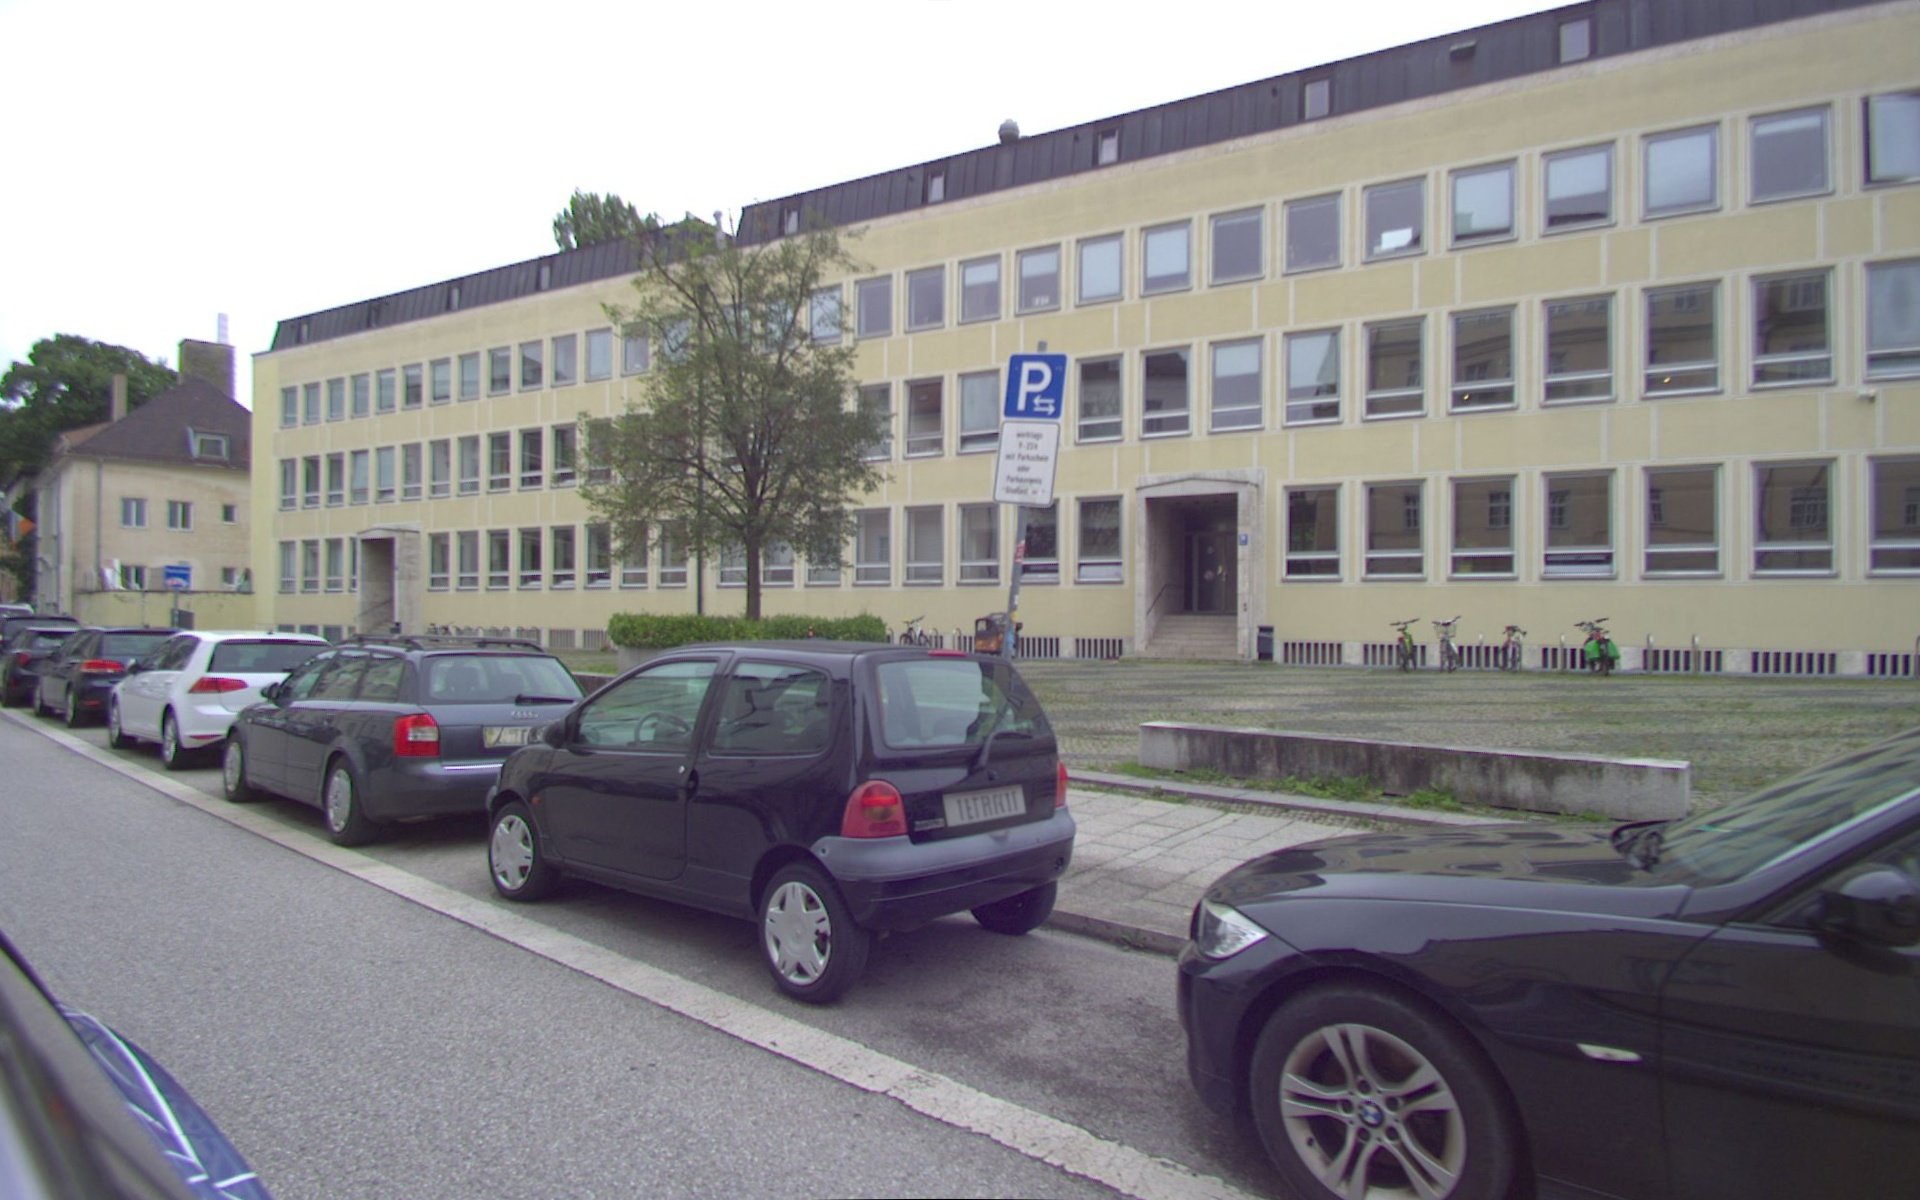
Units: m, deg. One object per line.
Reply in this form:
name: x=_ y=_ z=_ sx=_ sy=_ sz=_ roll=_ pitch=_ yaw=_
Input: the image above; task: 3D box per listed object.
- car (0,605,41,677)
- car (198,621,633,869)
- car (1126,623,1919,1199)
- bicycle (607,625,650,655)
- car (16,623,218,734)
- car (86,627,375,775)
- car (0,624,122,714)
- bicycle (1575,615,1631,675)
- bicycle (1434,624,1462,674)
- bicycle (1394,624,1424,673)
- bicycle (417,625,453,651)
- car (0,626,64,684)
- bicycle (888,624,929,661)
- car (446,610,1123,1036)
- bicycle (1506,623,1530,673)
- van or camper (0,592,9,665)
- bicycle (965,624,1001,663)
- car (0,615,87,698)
car: x=-28.395 y=1.167 z=29.343 sx=4.958 sy=1.975 sz=1.895 roll=-2 pitch=-3 yaw=40
car: x=-4.554 y=0.945 z=8.172 sx=4.272 sy=1.506 sz=1.614 roll=-1 pitch=-3 yaw=40
car: x=2.753 y=0.813 z=2.138 sx=4.459 sy=1.477 sz=1.757 roll=-1 pitch=-4 yaw=37
bicycle: x=-11.190 y=1.349 z=34.192 sx=0.414 sy=0.952 sz=1.393 roll=-1 pitch=0 yaw=39
car: x=-13.197 y=1.137 z=15.764 sx=4.096 sy=1.506 sz=1.614 roll=-1 pitch=-3 yaw=39
car: x=-8.700 y=1.051 z=11.941 sx=4.290 sy=1.433 sz=1.723 roll=-1 pitch=-2 yaw=40
car: x=-17.061 y=1.212 z=18.911 sx=3.819 sy=1.506 sz=1.613 roll=-1 pitch=-3 yaw=42
bicycle: x=12.880 y=0.874 z=20.311 sx=0.698 sy=1.104 sz=1.835 roll=-1 pitch=0 yaw=25
bicycle: x=10.300 y=1.005 z=21.341 sx=0.412 sy=0.952 sz=1.845 roll=-1 pitch=0 yaw=29
bicycle: x=9.643 y=1.013 z=21.706 sx=0.412 sy=0.952 sz=1.938 roll=-1 pitch=0 yaw=29
bicycle: x=-19.949 y=1.433 z=38.489 sx=0.410 sy=0.952 sz=1.405 roll=-1 pitch=0 yaw=13
car: x=-24.675 y=1.399 z=26.190 sx=3.708 sy=1.417 sz=1.785 roll=-1 pitch=-4 yaw=42
bicycle: x=-1.419 y=1.181 z=28.209 sx=0.500 sy=0.952 sz=1.596 roll=-1 pitch=0 yaw=23
car: x=-1.107 y=0.844 z=5.391 sx=3.601 sy=1.506 sz=1.614 roll=-1 pitch=-3 yaw=40
bicycle: x=11.527 y=0.976 z=20.896 sx=0.412 sy=0.952 sz=1.397 roll=-1 pitch=0 yaw=29
van or camper: x=-37.845 y=1.043 z=38.356 sx=5.563 sy=2.671 sz=2.267 roll=-1 pitch=-3 yaw=44
bicycle: x=0.623 y=1.157 z=26.999 sx=0.499 sy=0.952 sz=1.600 roll=-1 pitch=0 yaw=18
car: x=-20.882 y=1.205 z=22.502 sx=4.140 sy=1.702 sz=1.696 roll=-1 pitch=-3 yaw=42
